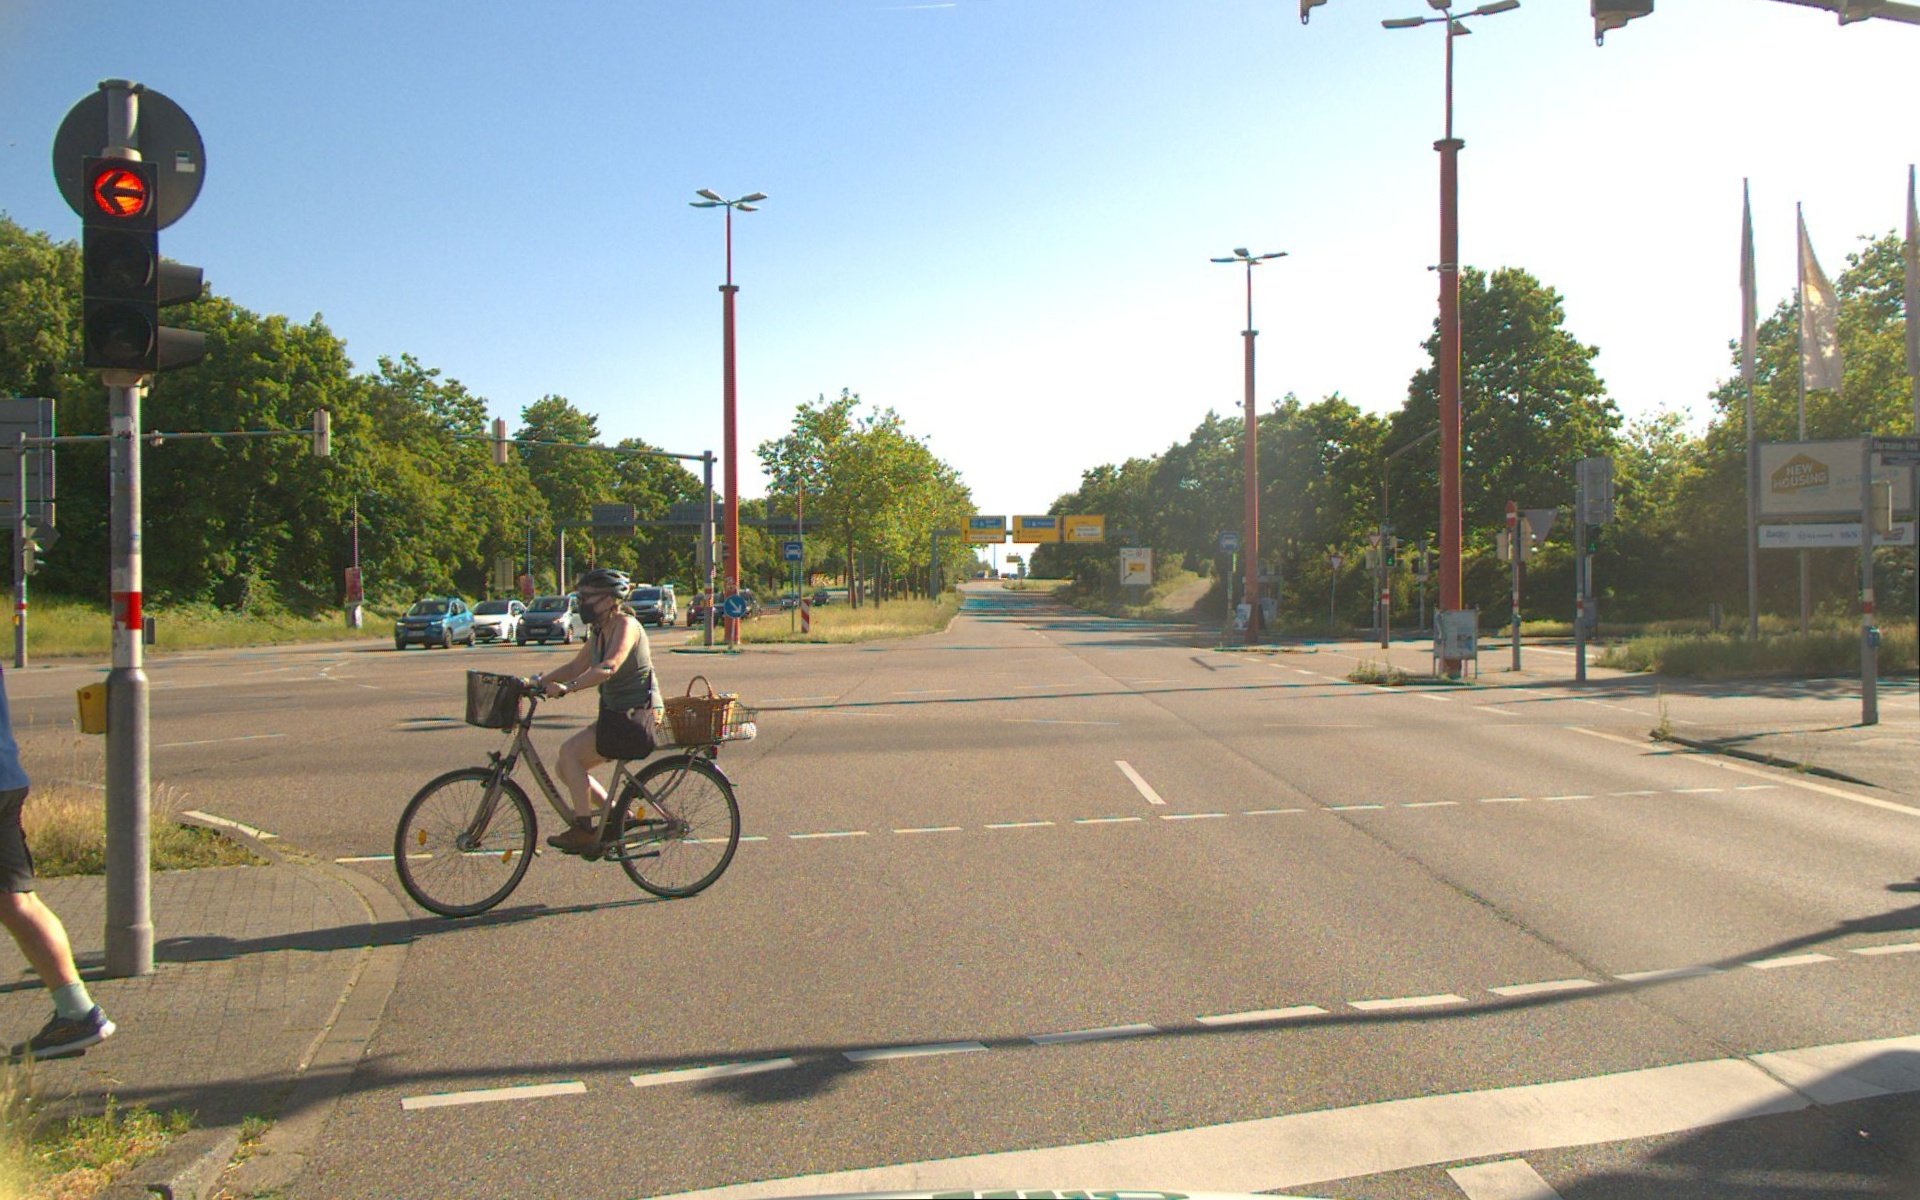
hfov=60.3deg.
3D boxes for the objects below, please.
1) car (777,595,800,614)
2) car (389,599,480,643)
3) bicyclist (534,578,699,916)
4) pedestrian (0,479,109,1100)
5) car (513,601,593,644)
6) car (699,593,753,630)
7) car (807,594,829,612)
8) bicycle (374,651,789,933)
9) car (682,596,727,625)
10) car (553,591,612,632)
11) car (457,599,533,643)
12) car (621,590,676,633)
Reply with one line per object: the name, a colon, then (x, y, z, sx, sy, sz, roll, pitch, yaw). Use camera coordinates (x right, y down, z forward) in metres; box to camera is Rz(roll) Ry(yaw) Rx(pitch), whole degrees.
car: (-15.047, 0.367, 145.240, 1.761, 1.668, 3.998, 0, 0, -2)
car: (-16.049, 0.612, 50.678, 1.704, 1.265, 3.611, 0, 0, -2)
bicyclist: (-1.741, 0.700, 8.349, 0.653, 1.612, 0.666, 0, 0, -28)
pedestrian: (-3.264, 0.558, 5.188, 0.971, 1.825, 0.948, 0, 0, -23)
car: (-12.668, 0.670, 51.699, 1.704, 1.265, 3.611, 0, 0, -2)
car: (-9.992, 0.464, 70.858, 1.782, 1.534, 3.999, 0, 0, -1)
car: (-13.417, 0.307, 156.891, 1.782, 1.657, 3.999, 0, 0, -1)
bicycle: (-1.874, 0.894, 8.275, 1.920, 1.216, 0.686, 0, 0, -29)
car: (-12.273, 0.487, 79.537, 1.704, 1.386, 3.611, 0, 0, -2)
car: (-15.784, 0.470, 69.270, 1.704, 1.640, 3.611, 0, 0, -2)
car: (-15.925, 0.702, 56.795, 1.704, 1.436, 3.611, 0, 0, -2)
car: (-15.371, 0.529, 81.839, 1.855, 2.061, 5.221, 0, 0, -2)
